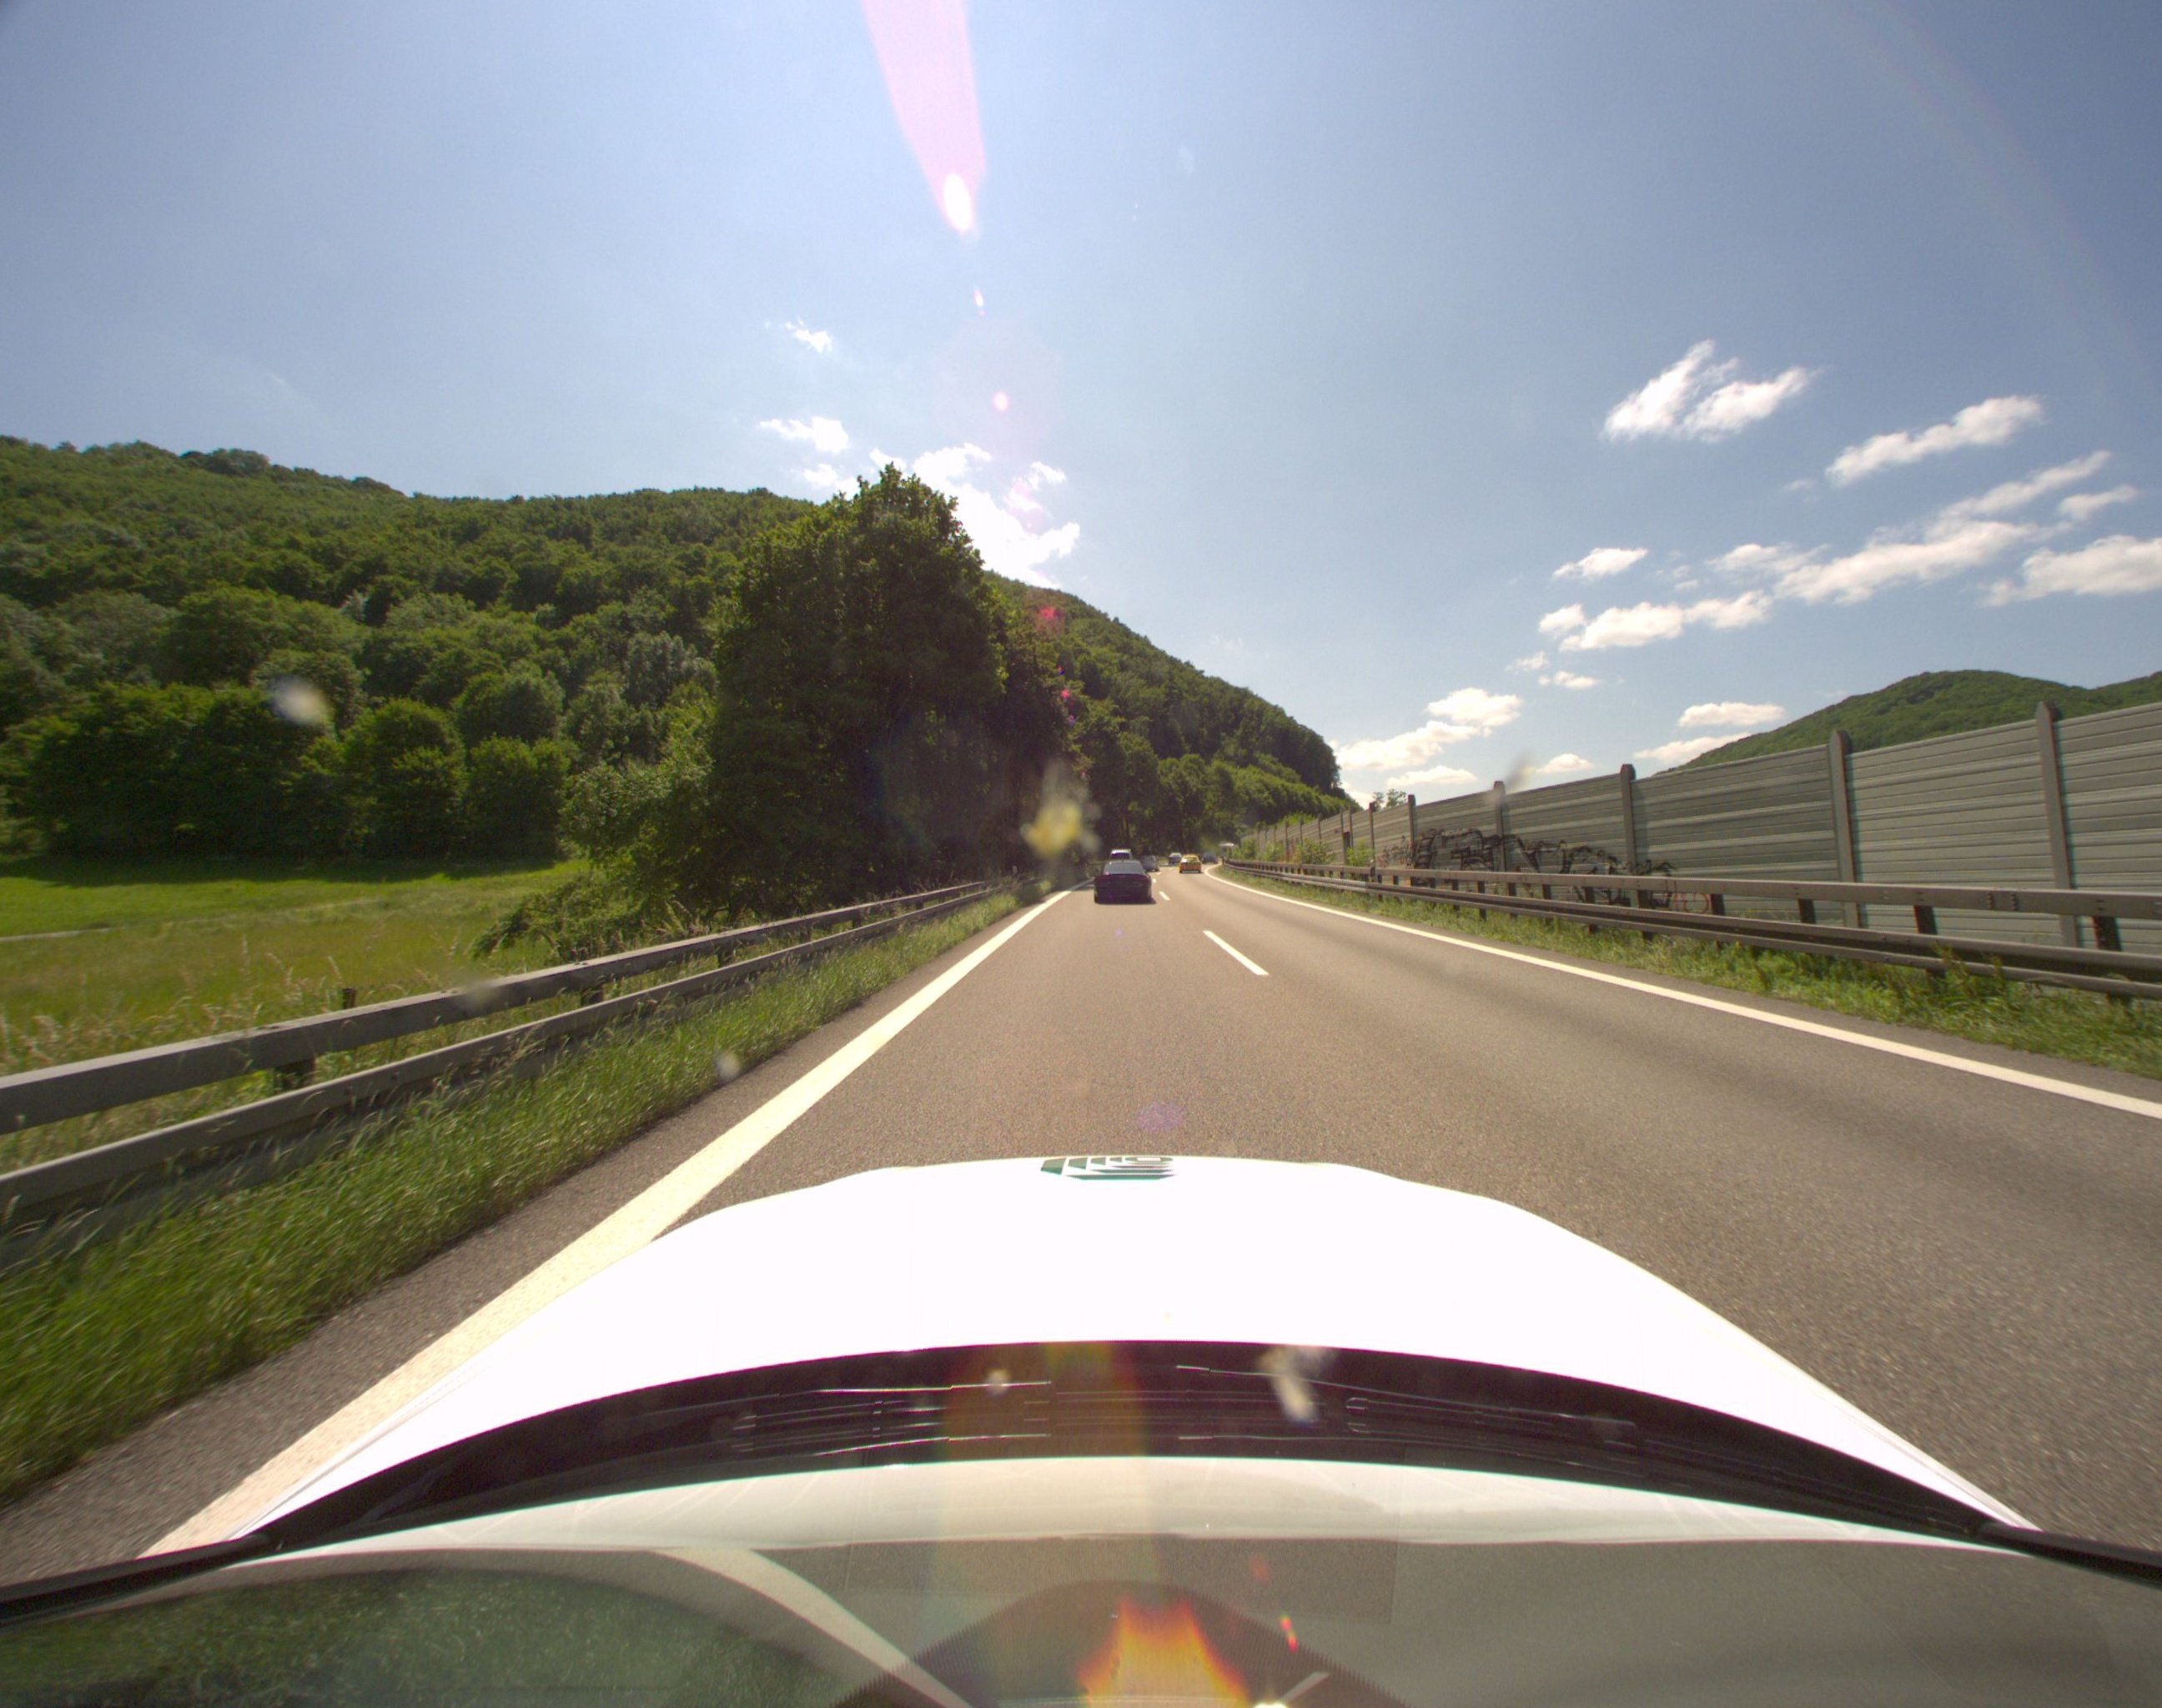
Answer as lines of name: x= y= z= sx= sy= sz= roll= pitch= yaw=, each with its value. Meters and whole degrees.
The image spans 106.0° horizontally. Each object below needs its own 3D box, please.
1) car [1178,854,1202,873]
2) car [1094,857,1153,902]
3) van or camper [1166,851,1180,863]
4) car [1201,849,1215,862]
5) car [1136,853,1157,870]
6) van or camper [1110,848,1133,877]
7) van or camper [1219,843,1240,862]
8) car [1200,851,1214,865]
car: x=9.060 y=0.808 z=67.951 sx=1.853 sy=1.488 sz=4.008 roll=-2 pitch=-1 yaw=7
car: x=1.406 y=0.831 z=27.657 sx=1.831 sy=1.349 sz=4.001 roll=-2 pitch=-1 yaw=2
van or camper: x=12.214 y=0.401 z=108.017 sx=1.549 sy=1.534 sz=3.513 roll=-2 pitch=-1 yaw=8
car: x=16.722 y=0.231 z=107.645 sx=1.763 sy=1.637 sz=4.009 roll=-1 pitch=-1 yaw=9
car: x=5.962 y=0.684 z=74.647 sx=1.740 sy=1.431 sz=4.002 roll=-2 pitch=-1 yaw=2
van or camper: x=2.641 y=0.584 z=54.208 sx=1.386 sy=1.816 sz=4.001 roll=-2 pitch=-1 yaw=2
van or camper: x=23.343 y=-0.188 z=127.831 sx=2.436 sy=2.918 sz=6.154 roll=-2 pitch=-1 yaw=18
car: x=20.778 y=0.581 z=133.968 sx=1.981 sy=2.013 sz=4.012 roll=-7 pitch=-1 yaw=11
